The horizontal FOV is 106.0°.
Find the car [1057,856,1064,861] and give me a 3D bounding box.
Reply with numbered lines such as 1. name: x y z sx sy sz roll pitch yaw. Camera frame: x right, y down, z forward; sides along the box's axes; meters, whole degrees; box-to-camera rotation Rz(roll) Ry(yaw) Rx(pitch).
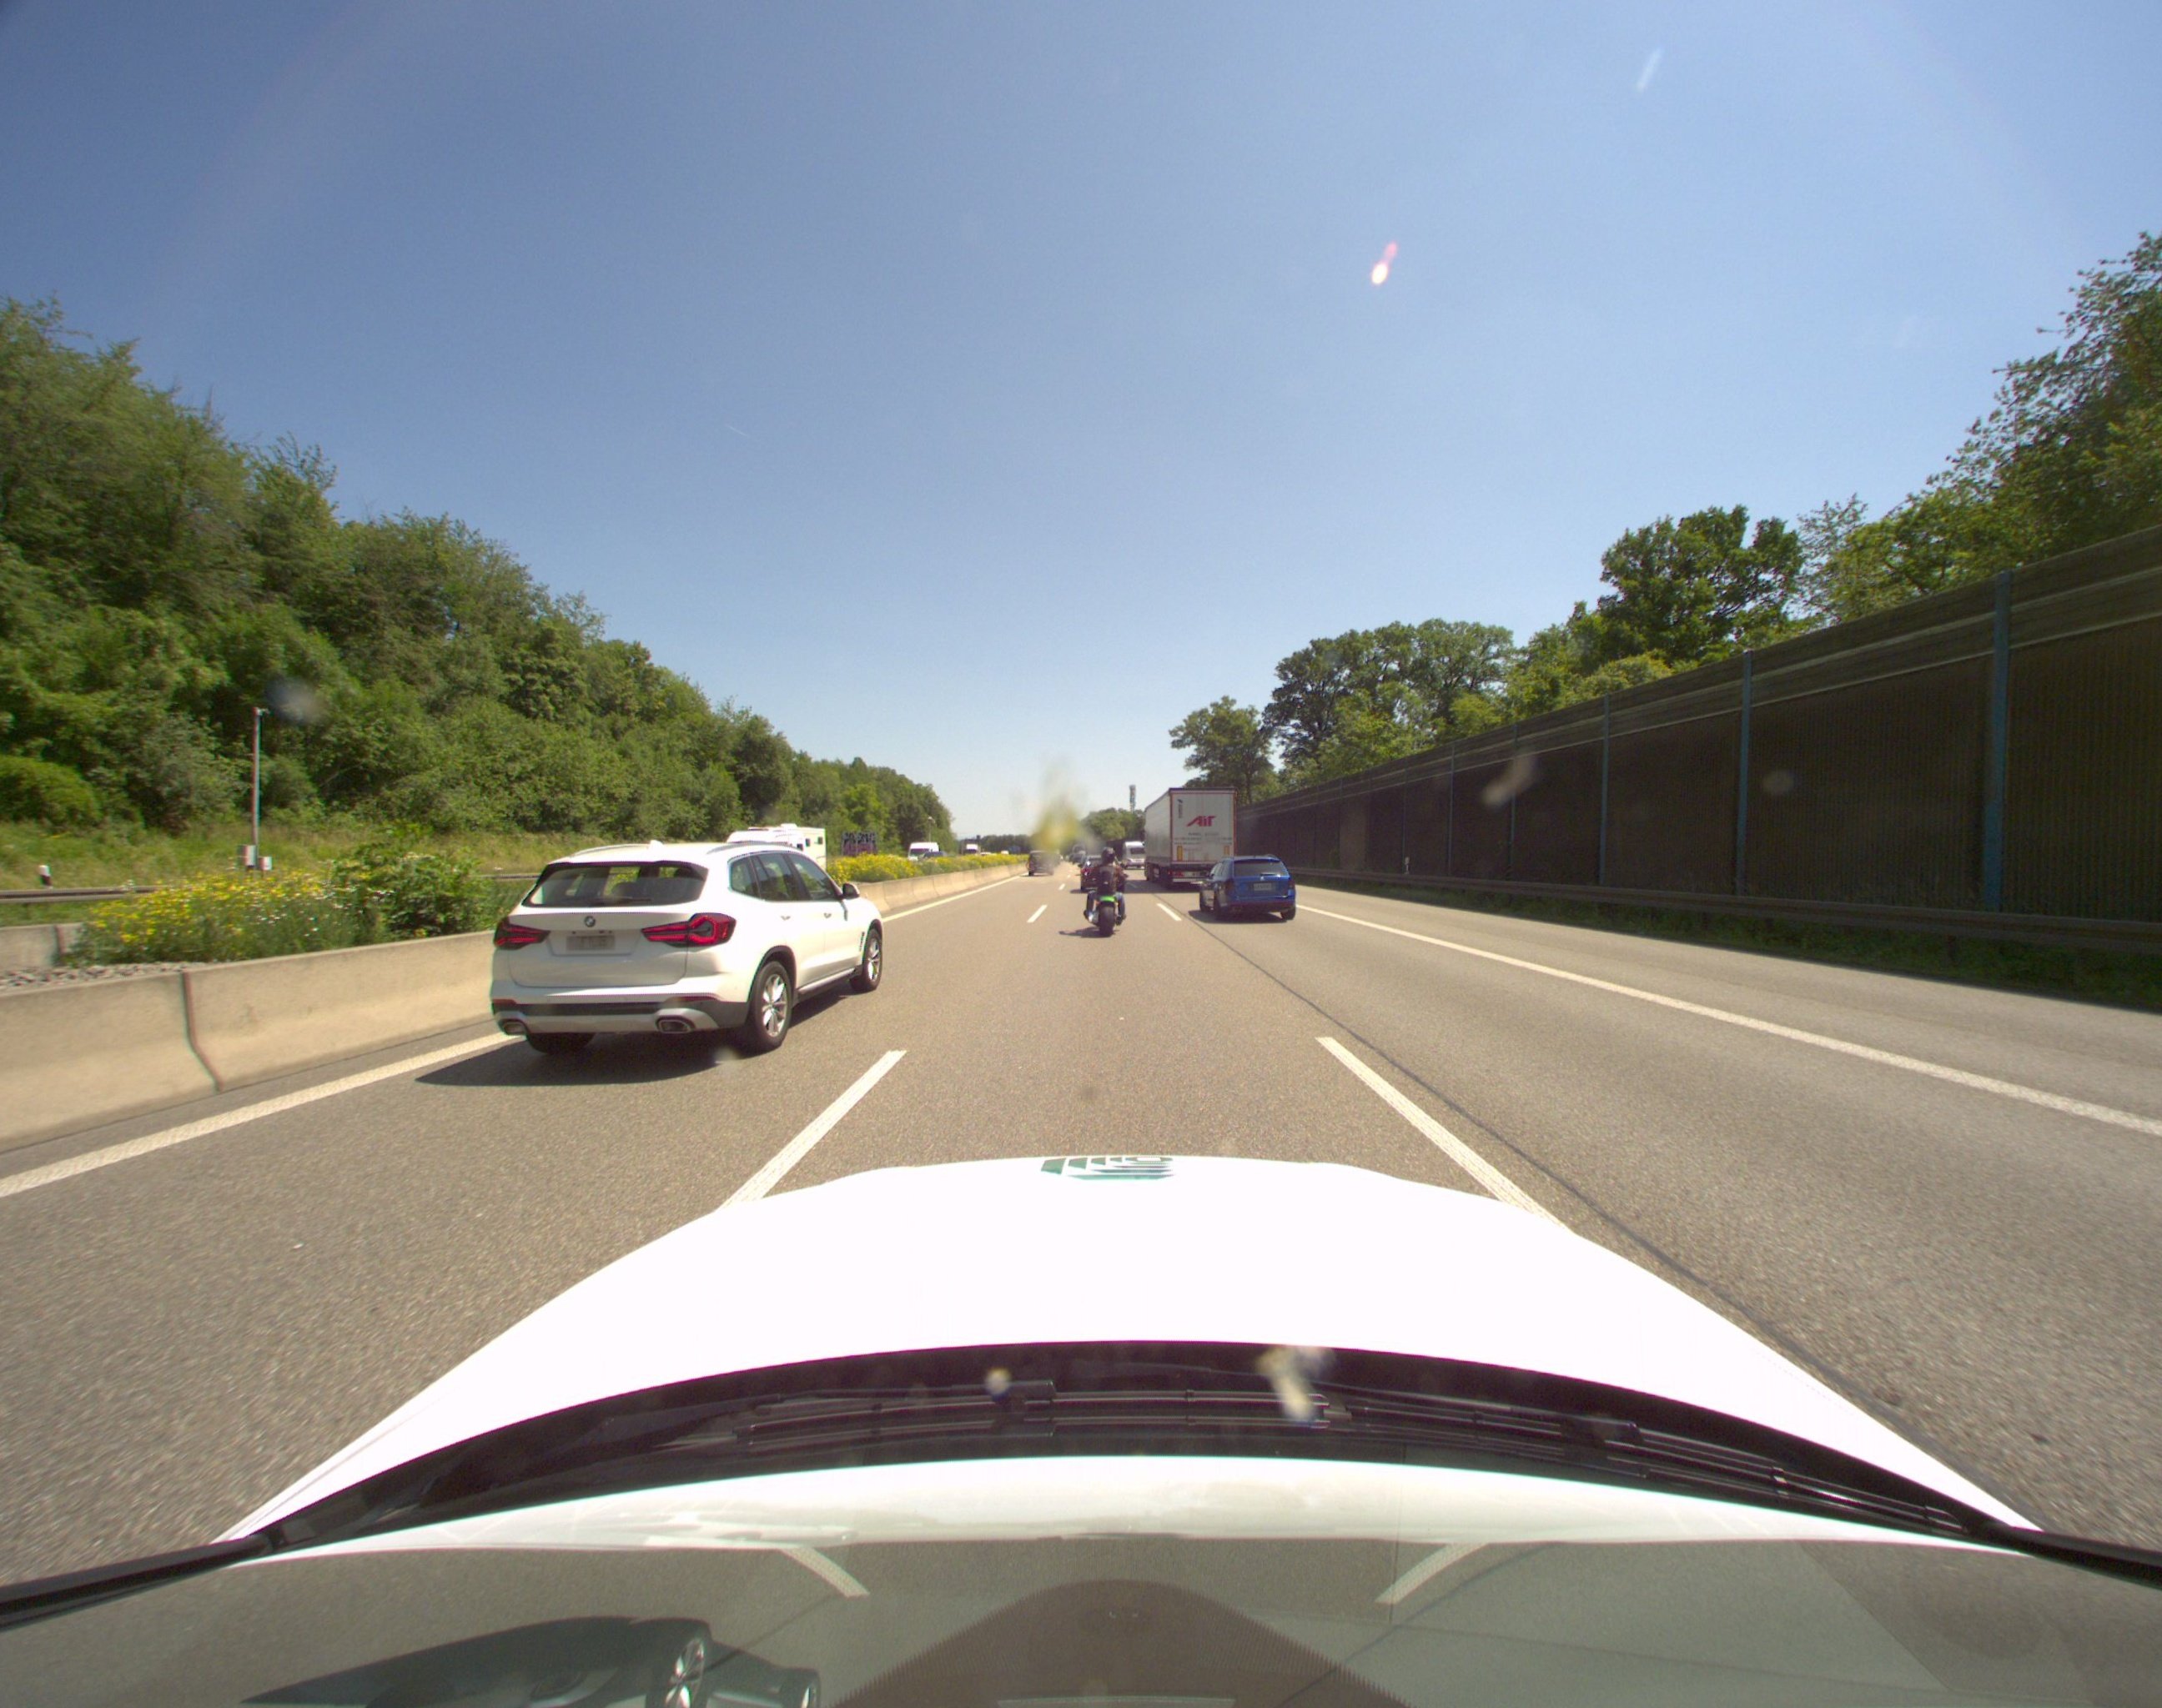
1. car: -5.426 1.230 219.524 1.828 1.496 3.739 -1 -1 -3

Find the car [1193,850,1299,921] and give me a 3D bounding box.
1. car: 3.841 0.718 19.653 1.645 1.483 4.480 -1 -1 0

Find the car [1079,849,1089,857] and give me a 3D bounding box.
1. car: 0.690 -0.214 195.668 2.103 1.876 3.996 -1 -1 -3

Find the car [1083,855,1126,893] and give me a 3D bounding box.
1. car: 0.938 0.821 33.599 1.657 1.453 3.868 -1 -1 0

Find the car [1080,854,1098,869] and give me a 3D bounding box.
1. car: 0.821 0.800 85.157 1.772 1.552 3.587 0 0 2

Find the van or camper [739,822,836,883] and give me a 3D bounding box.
1. van or camper: -17.543 0.014 49.426 2.531 3.317 9.002 -1 -1 1

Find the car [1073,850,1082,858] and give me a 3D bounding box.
1. car: -0.895 -0.073 200.876 2.102 1.876 3.996 -1 -1 -2

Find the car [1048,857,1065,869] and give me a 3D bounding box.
1. car: -2.975 1.144 98.754 1.987 1.387 3.998 -1 -1 -1

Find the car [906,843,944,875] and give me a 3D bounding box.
1. car: -13.772 0.407 72.453 2.193 2.741 5.747 -1 0 0

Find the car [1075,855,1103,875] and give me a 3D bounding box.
1. car: 0.644 0.812 60.093 1.986 1.430 3.848 -1 -1 1

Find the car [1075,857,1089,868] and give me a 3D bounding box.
1. car: 0.198 1.297 121.728 1.988 1.640 3.997 -1 -1 -1

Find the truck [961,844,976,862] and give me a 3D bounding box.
1. truck: -25.918 -0.172 187.852 2.956 4.107 6.083 -1 -1 -2

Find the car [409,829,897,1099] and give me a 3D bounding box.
1. car: -3.305 0.718 7.690 1.857 1.694 4.957 -1 0 1

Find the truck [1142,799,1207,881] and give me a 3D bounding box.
1. truck: 4.975 -0.721 44.531 2.876 4.146 5.986 -1 0 1

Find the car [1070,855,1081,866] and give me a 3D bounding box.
1. car: -1.103 1.166 151.941 1.907 2.014 3.686 -1 -1 -3

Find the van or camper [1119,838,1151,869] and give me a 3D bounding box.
1. van or camper: 5.158 0.036 78.163 2.676 2.813 6.803 -1 -1 1

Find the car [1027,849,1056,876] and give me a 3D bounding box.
1. car: -2.859 0.636 60.047 1.893 1.874 4.410 -1 -1 -1

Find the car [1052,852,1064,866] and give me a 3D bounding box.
1. car: -3.417 0.695 120.733 1.786 2.014 3.639 -1 -1 -1

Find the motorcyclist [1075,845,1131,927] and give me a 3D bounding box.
1. motorcyclist: 0.457 0.601 15.747 0.895 1.475 1.875 -1 -1 6

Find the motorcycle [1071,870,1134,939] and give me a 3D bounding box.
1. motorcycle: 0.467 0.921 15.726 0.959 1.148 2.816 0 0 6

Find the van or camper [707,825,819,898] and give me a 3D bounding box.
1. van or camper: -13.964 0.310 36.316 2.249 2.899 6.558 -1 0 1

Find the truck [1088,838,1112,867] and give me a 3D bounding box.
1. truck: 3.367 -0.182 144.746 3.792 4.960 8.944 -1 -1 -2

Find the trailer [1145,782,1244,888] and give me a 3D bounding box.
1. trailer: 4.885 -0.708 38.060 2.875 4.038 13.797 -1 0 1

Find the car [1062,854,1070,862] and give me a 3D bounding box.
1. car: -3.279 0.902 177.332 1.826 1.496 3.742 -1 -1 0

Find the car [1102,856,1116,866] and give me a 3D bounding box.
1. car: 4.377 1.100 126.036 1.987 1.574 3.998 -1 -1 -1
